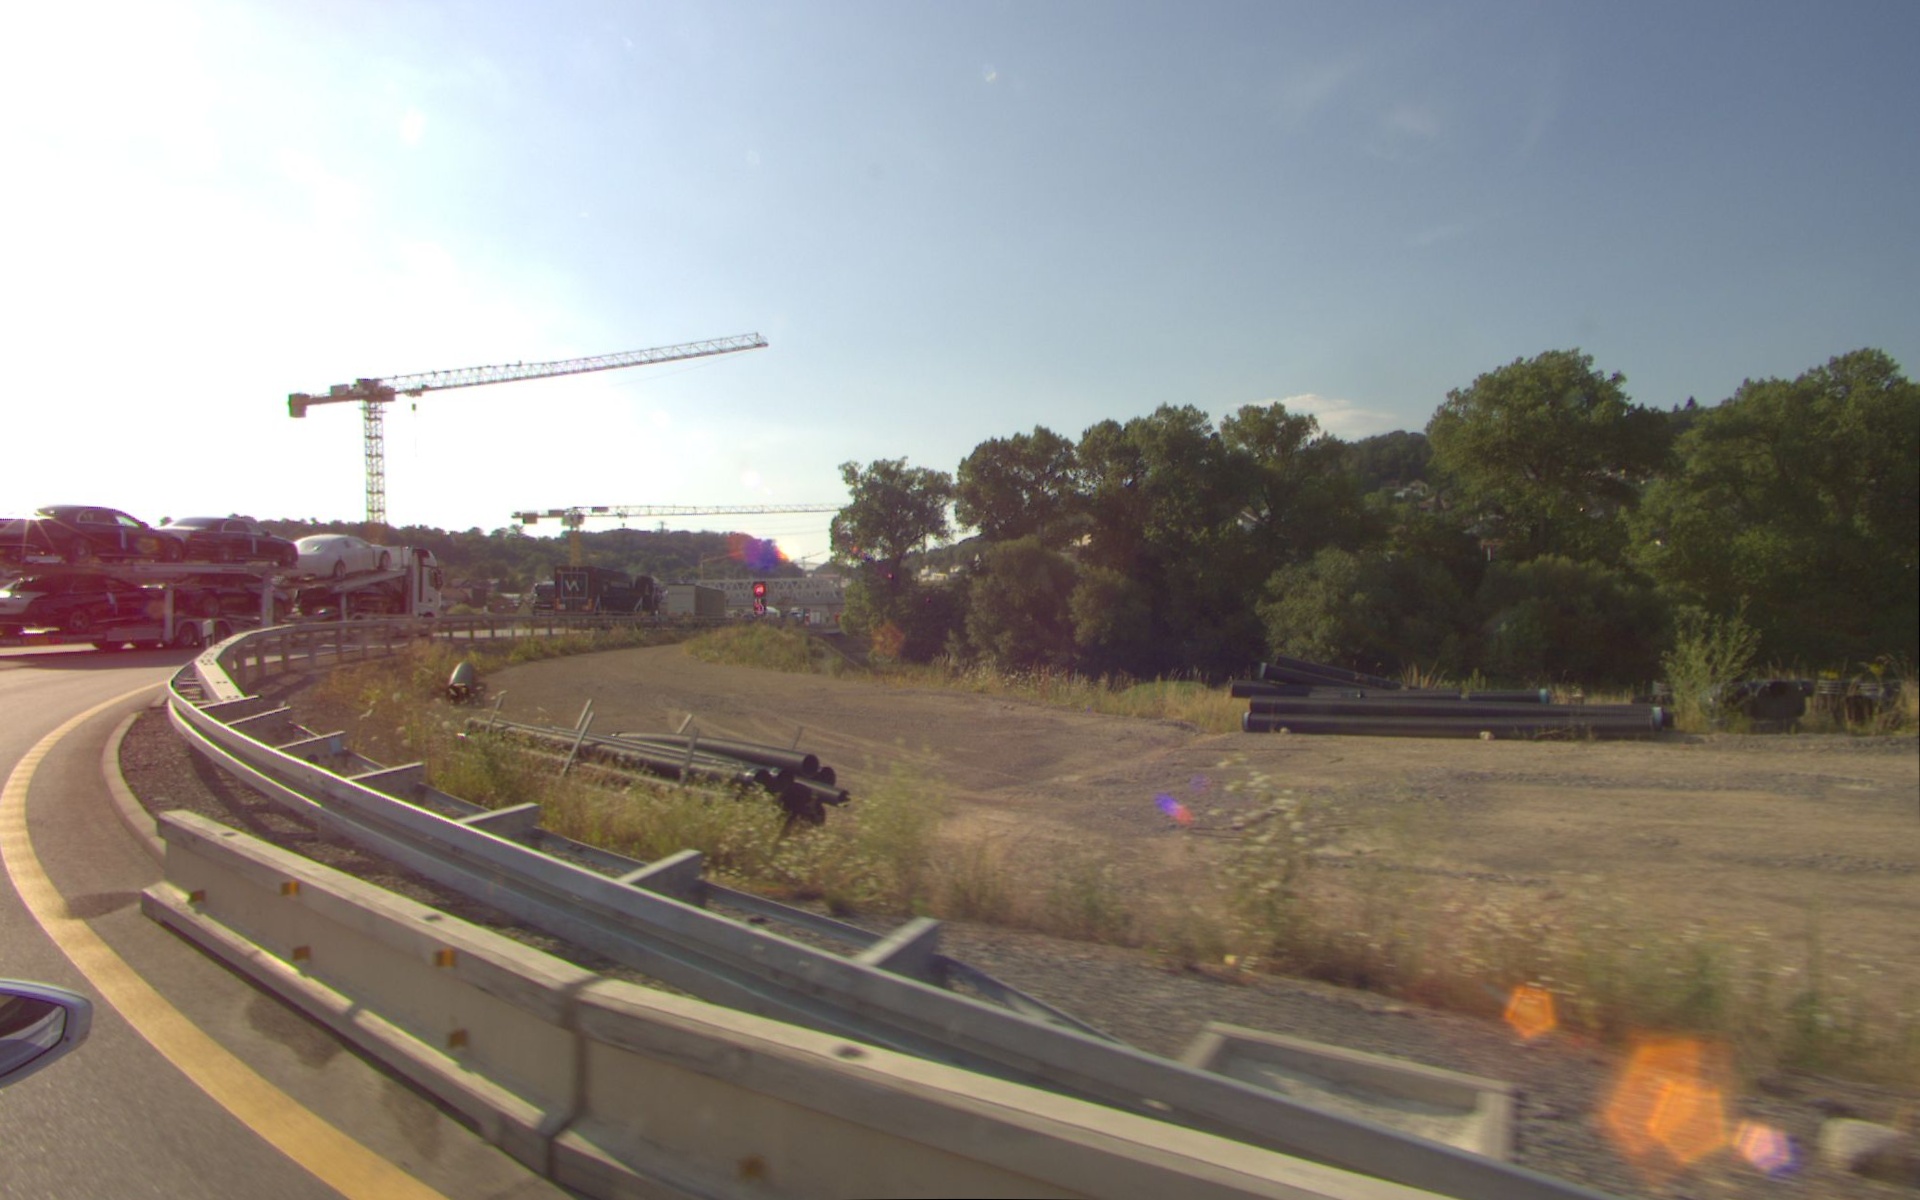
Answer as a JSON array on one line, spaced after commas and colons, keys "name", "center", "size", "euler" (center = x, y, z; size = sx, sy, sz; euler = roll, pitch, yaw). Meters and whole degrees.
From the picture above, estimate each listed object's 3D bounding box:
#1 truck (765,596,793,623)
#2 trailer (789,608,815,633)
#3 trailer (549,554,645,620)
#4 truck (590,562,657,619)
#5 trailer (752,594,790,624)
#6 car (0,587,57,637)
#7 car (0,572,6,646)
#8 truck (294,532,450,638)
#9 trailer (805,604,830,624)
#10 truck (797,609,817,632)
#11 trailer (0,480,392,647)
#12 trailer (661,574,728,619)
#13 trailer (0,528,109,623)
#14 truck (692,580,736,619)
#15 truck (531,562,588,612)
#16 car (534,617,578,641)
[{"name": "truck", "center": [-27.776, 1.513, 153.594], "size": [3.335, 4.048, 6.625], "euler": [0, -1, -3]}, {"name": "trailer", "center": [-28.905, 3.768, 184.057], "size": [3.053, 4.370, 14.254], "euler": [0, -1, -3]}, {"name": "trailer", "center": [-24.824, -0.697, 69.198], "size": [2.910, 4.144, 10.795], "euler": [-1, -1, -1]}, {"name": "truck", "center": [-24.992, -0.641, 74.704], "size": [2.838, 4.048, 6.625], "euler": [0, -1, -1]}, {"name": "trailer", "center": [-27.405, 1.377, 146.039], "size": [3.330, 4.048, 14.747], "euler": [0, -1, -3]}, {"name": "car", "center": [-30.437, 0.339, 30.171], "size": [1.995, 1.520, 4.979], "euler": [1, -1, -2]}, {"name": "car", "center": [-26.826, 0.183, 24.641], "size": [1.995, 2.007, 4.979], "euler": [1, -1, -2]}, {"name": "truck", "center": [-24.237, -0.500, 41.698], "size": [2.802, 4.048, 6.625], "euler": [0, -1, -3]}, {"name": "trailer", "center": [-31.550, 3.144, 222.680], "size": [4.030, 4.370, 14.254], "euler": [0, -1, -3]}, {"name": "truck", "center": [-29.201, 3.933, 191.040], "size": [3.047, 4.341, 6.625], "euler": [0, -1, -3]}, {"name": "trailer", "center": [-23.804, -0.722, 32.128], "size": [2.811, 4.048, 15.748], "euler": [0, -1, -3]}, {"name": "trailer", "center": [-25.920, -0.170, 98.624], "size": [3.330, 4.048, 14.747], "euler": [0, -1, -3]}, {"name": "trailer", "center": [-33.533, -0.848, 32.635], "size": [2.105, 3.174, 10.984], "euler": [-2, -1, 0]}, {"name": "truck", "center": [-26.310, 0.023, 107.347], "size": [3.289, 4.048, 6.625], "euler": [0, -1, -3]}, {"name": "truck", "center": [-35.277, -1.081, 88.356], "size": [2.585, 4.119, 6.131], "euler": [-2, -1, -2]}, {"name": "car", "center": [-29.453, 2.084, 73.165], "size": [1.800, 1.675, 4.000], "euler": [-2, -1, -5]}]
